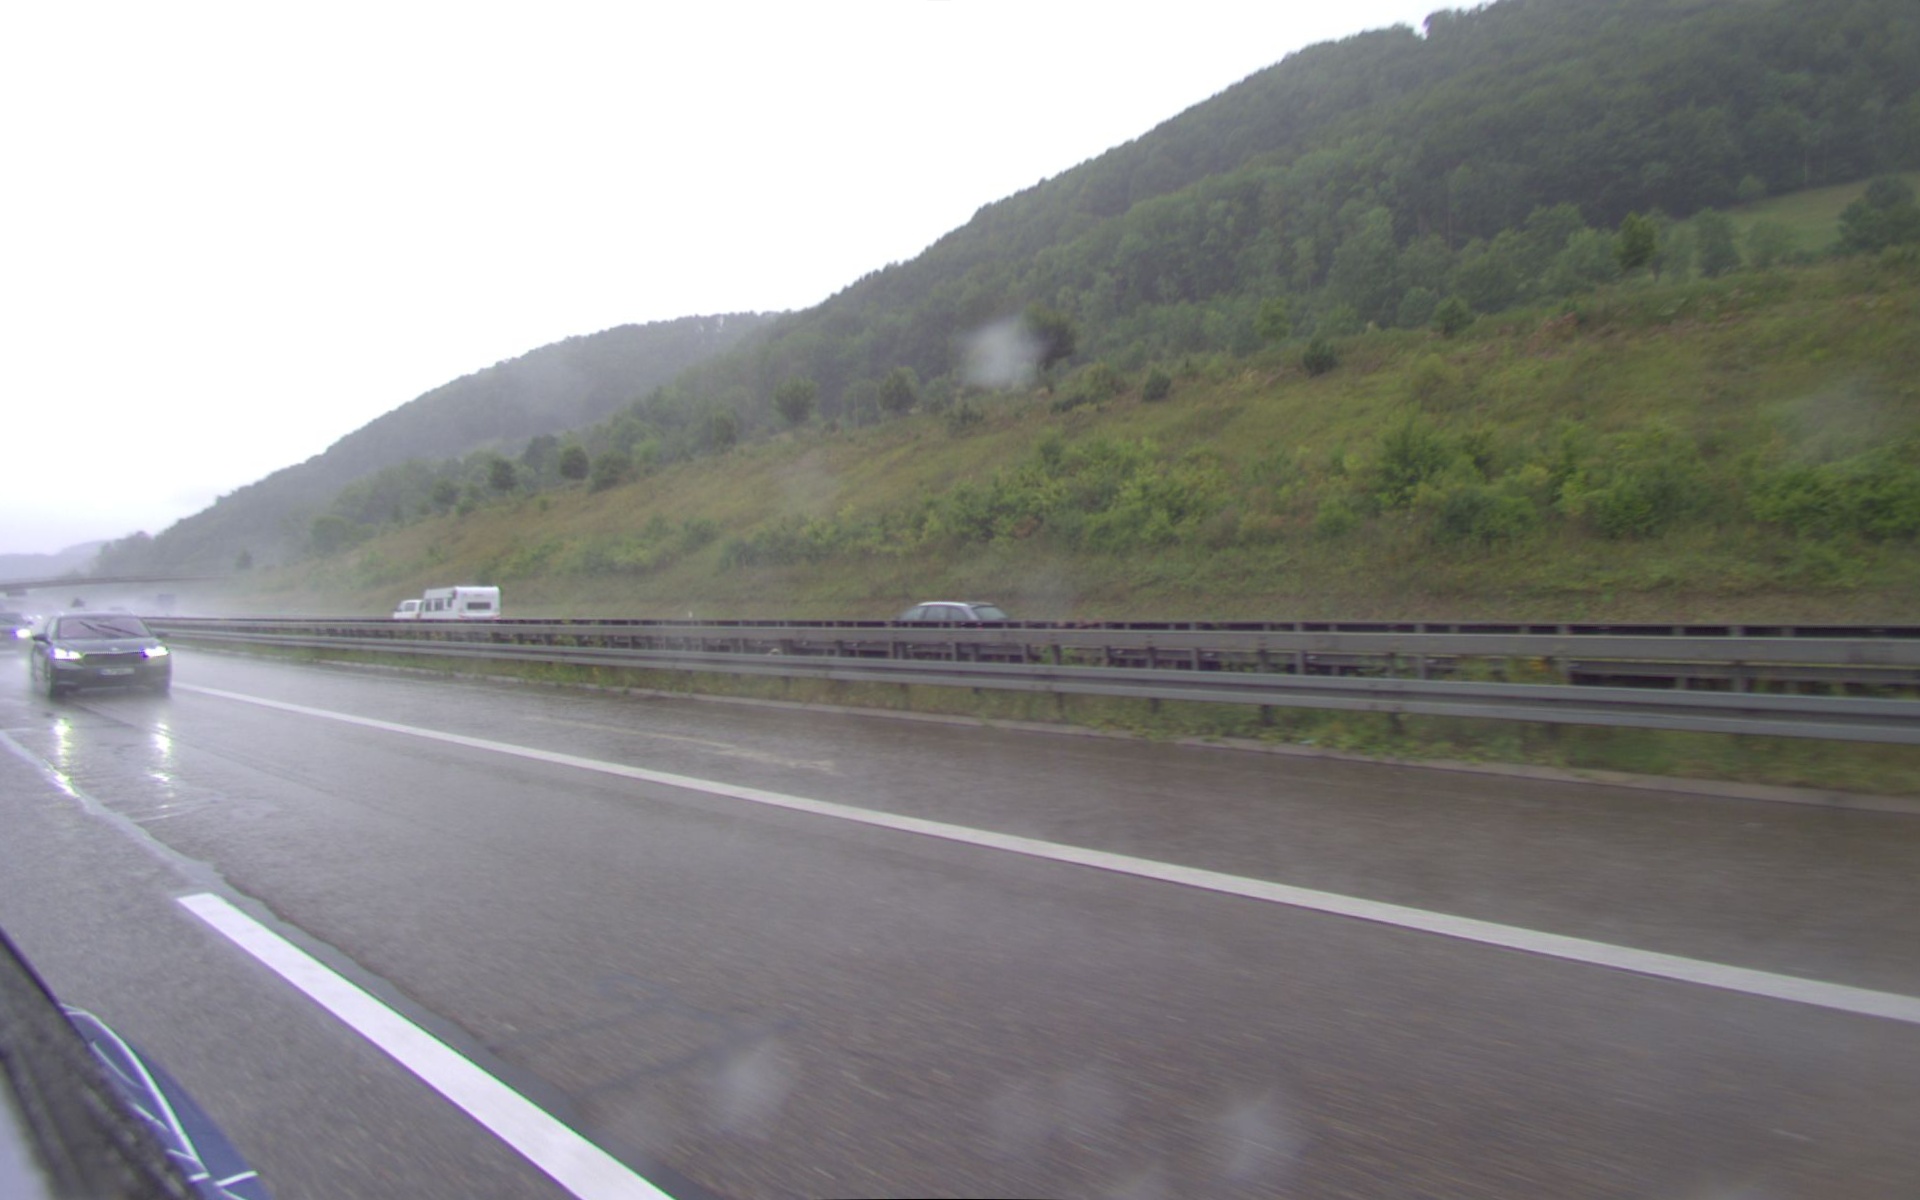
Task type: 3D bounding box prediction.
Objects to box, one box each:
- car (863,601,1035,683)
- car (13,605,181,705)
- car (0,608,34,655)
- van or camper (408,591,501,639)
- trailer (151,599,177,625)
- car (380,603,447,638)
[{"bbox_3d":[-0.333,0.995,25.311,3.998,1.874,1.973,-1,-1,41],"label":"car"},{"bbox_3d":[-17.383,1.001,20.294,4.909,1.696,1.972,-1,1,43],"label":"car"},{"bbox_3d":[-37.358,1.208,39.214,3.748,1.715,1.791,-1,1,42],"label":"car"},{"bbox_3d":[-28.711,0.863,57.332,7.205,2.583,2.319,-1,0,43],"label":"van or camper"},{"bbox_3d":[-150.669,2.313,191.403,2.704,4.821,14.057,-1,0,-43],"label":"trailer"},{"bbox_3d":[-33.262,1.242,61.542,5.178,2.030,1.972,-1,0,43],"label":"car"}]
